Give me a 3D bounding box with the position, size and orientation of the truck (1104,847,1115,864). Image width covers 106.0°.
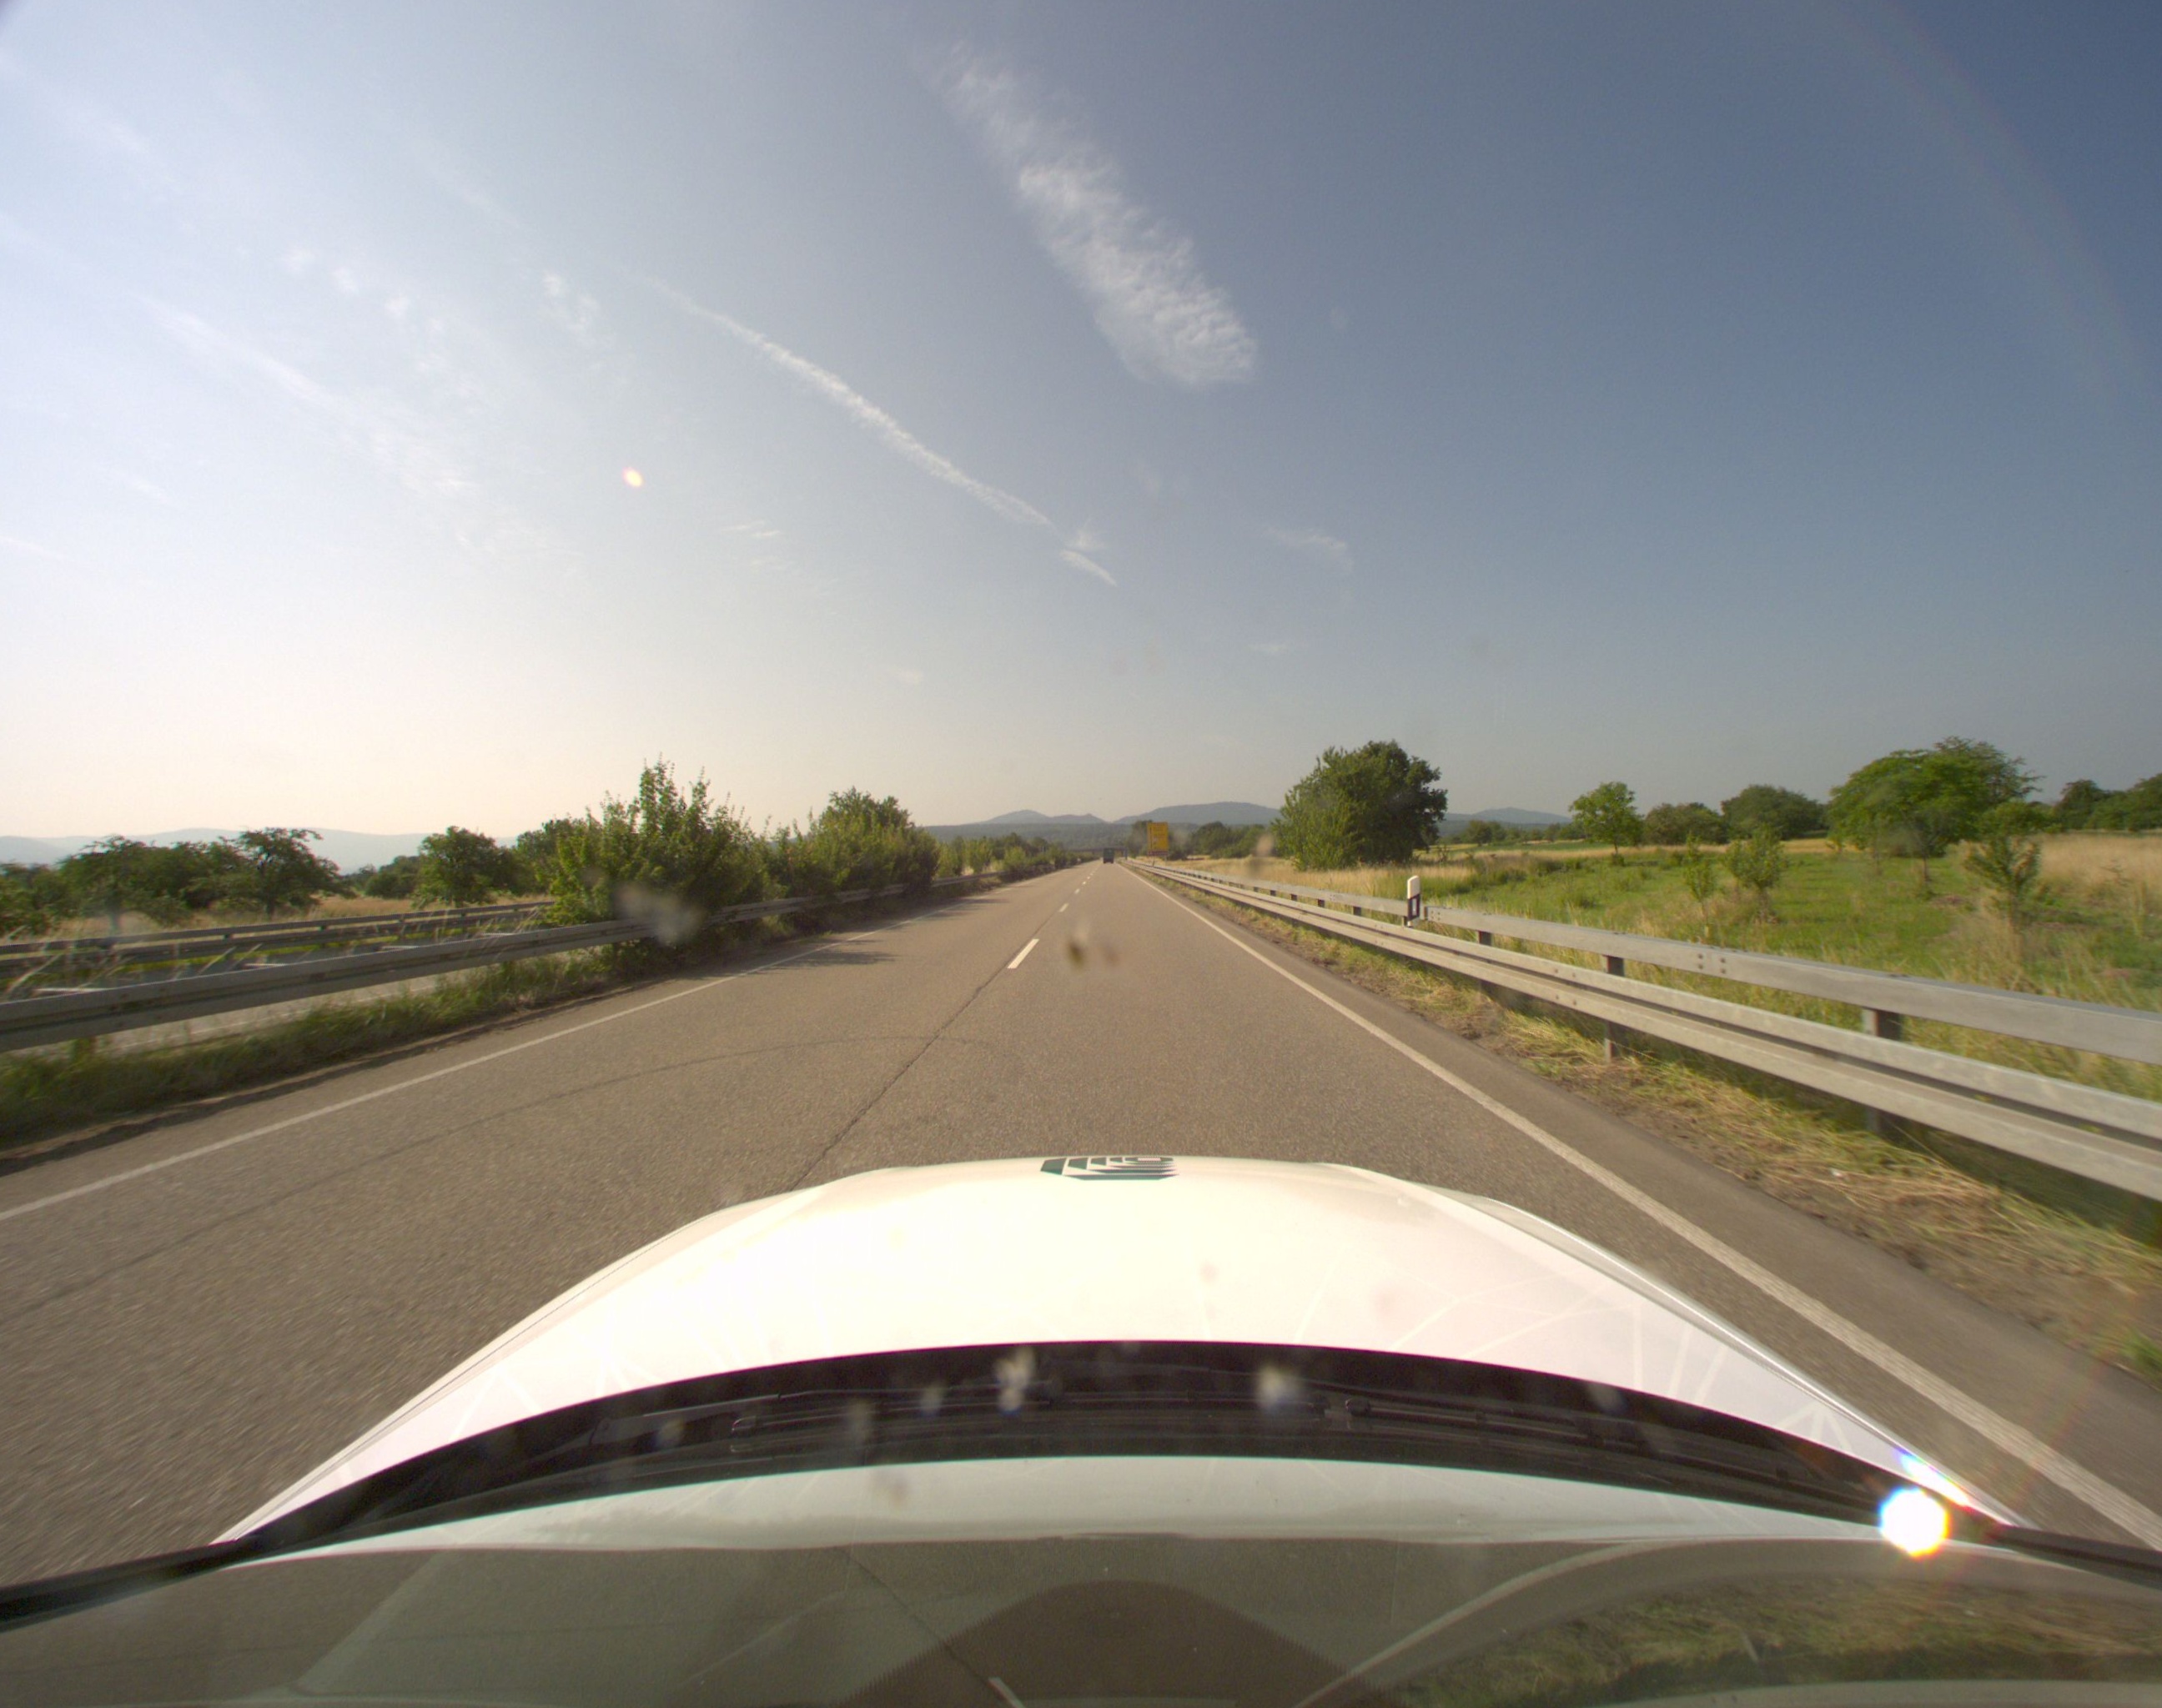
[{"bbox_3d":[6.847,0.294,194.923,2.711,3.965,10.422,0,1,2],"label":"truck"}]
